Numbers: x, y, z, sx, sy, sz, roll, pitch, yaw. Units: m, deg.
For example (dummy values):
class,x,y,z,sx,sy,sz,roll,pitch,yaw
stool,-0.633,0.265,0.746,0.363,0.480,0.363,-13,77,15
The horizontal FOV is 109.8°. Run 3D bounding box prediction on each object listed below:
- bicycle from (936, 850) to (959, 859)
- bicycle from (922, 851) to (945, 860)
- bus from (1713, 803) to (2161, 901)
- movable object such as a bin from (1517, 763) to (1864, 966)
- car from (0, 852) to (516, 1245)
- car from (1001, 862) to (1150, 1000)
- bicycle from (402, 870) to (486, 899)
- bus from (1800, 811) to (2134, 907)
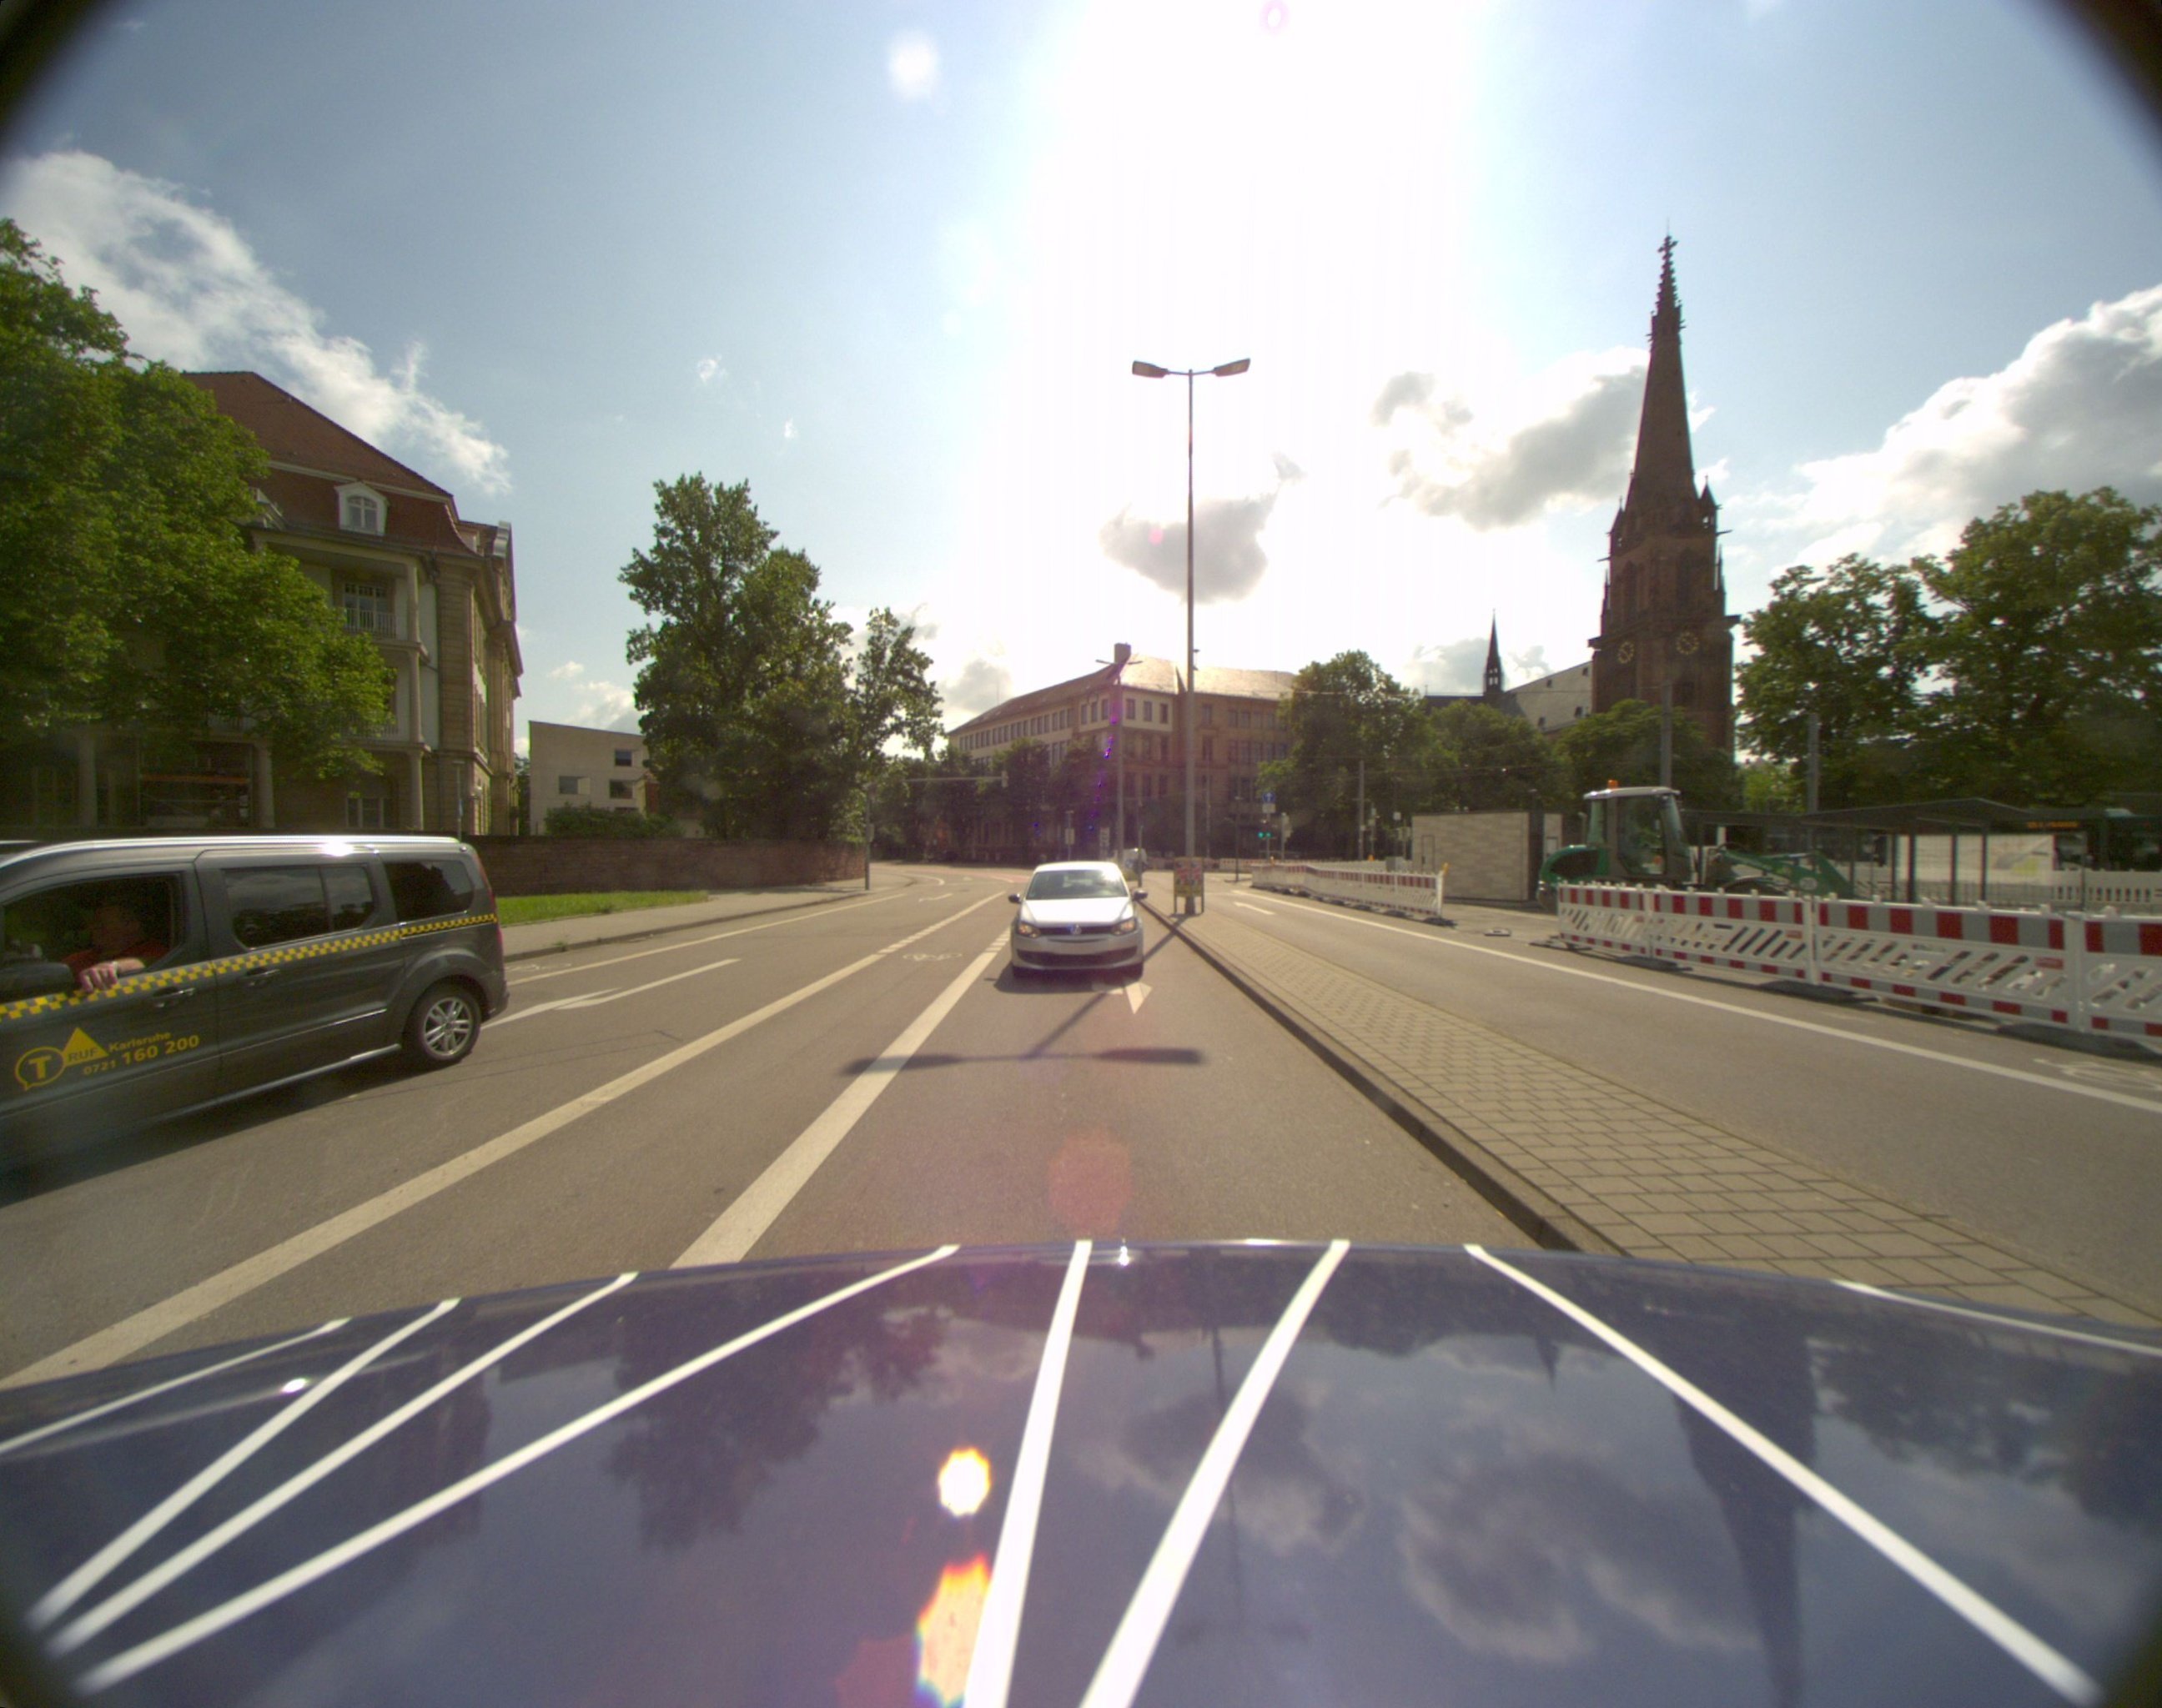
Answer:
class,x,y,z,sx,sy,sz,roll,pitch,yaw
bicycle,-18.457,0.108,104.990,2.891,1.200,1.050,0,4,8
bicycle,-20.799,0.155,107.178,2.891,1.200,1.073,0,4,8
bus,33.637,-0.143,30.713,2.999,3.243,12.042,0,1,-35
movable object such as a bin,10.428,0.130,13.275,2.004,2.932,4.437,0,1,-43
car,-5.847,0.908,4.157,1.853,1.775,4.672,-1,0,2
car,-0.071,0.902,10.666,1.655,1.433,4.004,-2,1,0
bicycle,-21.364,1.019,25.506,0.856,0.856,2.065,4,3,44
bus,32.014,0.129,27.935,2.378,3.040,7.742,0,1,-35
